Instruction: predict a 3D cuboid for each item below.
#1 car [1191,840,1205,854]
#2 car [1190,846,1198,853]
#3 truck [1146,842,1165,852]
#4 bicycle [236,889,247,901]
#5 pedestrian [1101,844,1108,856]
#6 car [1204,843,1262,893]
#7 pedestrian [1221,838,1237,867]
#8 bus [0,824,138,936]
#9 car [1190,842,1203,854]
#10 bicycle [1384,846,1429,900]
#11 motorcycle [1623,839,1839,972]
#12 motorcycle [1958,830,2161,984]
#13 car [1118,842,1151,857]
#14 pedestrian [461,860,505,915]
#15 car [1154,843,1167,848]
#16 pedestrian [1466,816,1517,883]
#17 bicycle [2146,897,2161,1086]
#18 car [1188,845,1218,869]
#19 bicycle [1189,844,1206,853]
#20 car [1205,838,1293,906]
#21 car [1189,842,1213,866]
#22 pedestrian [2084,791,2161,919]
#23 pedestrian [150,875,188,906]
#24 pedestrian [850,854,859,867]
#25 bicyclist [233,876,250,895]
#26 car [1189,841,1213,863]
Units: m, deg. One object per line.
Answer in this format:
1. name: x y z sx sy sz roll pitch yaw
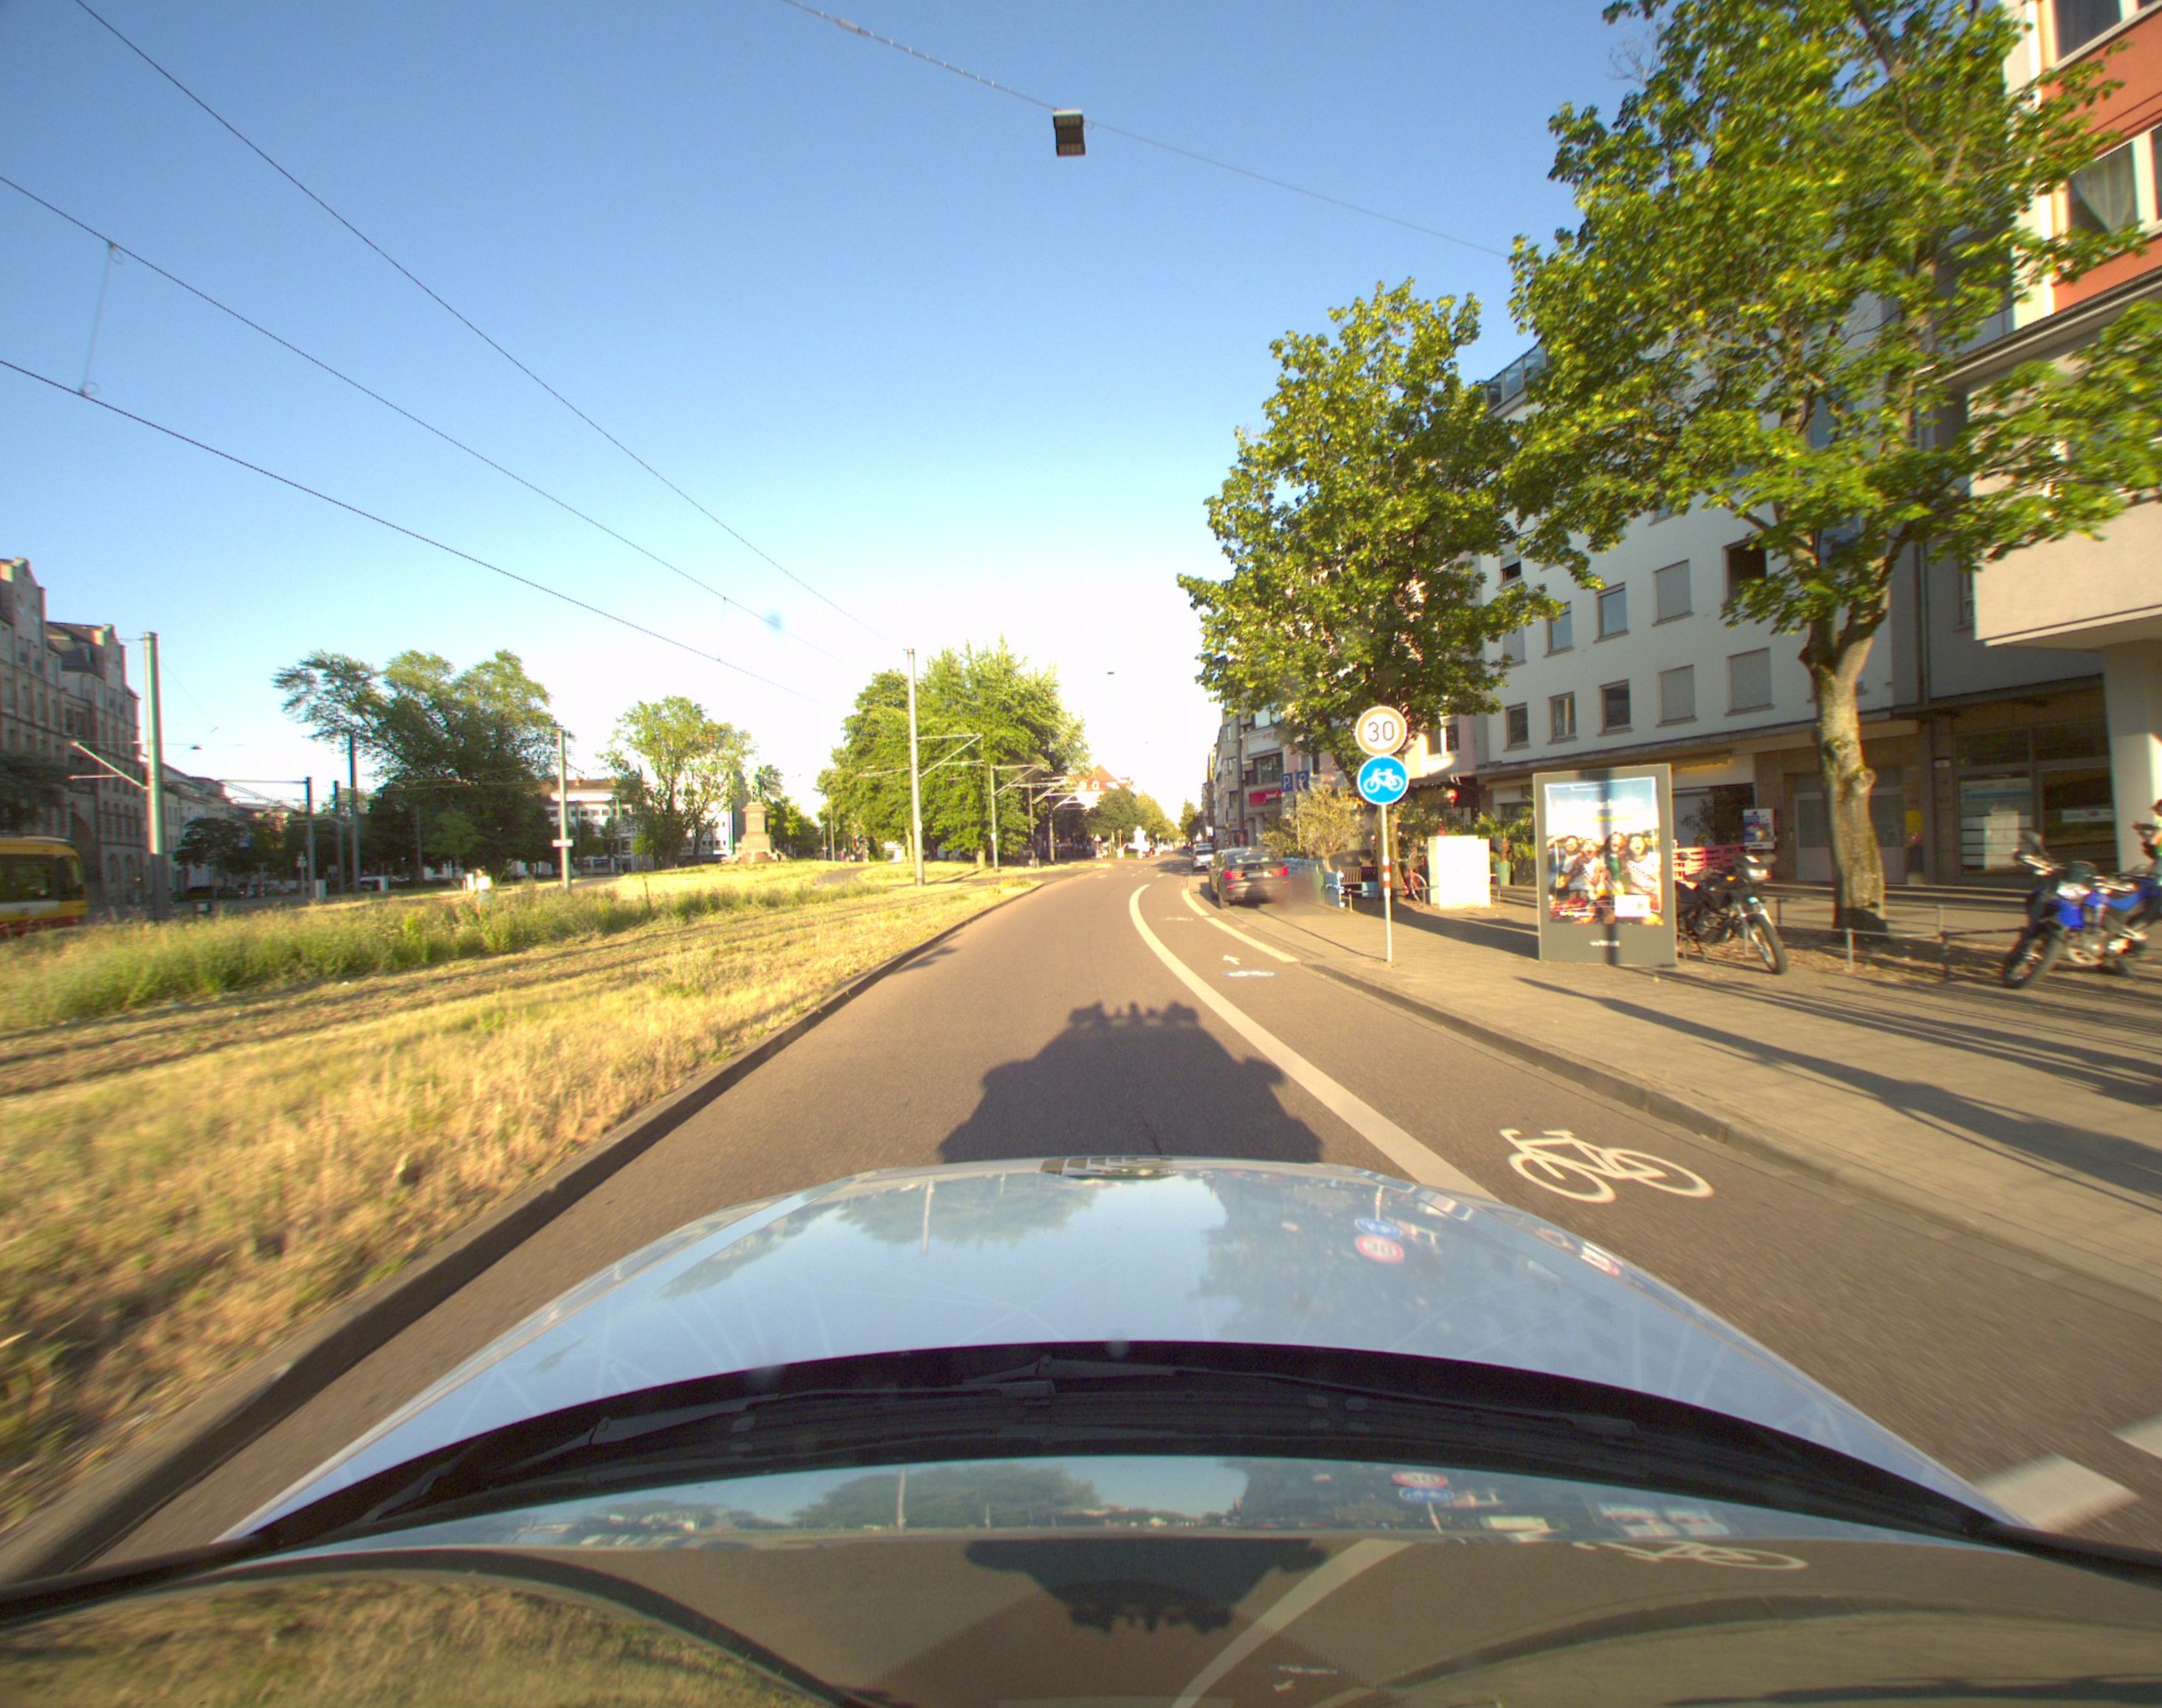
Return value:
1. car: 15.213 -0.893 105.853 1.782 1.791 4.101 -2 0 8
2. car: 27.290 -1.093 196.459 1.569 1.542 3.401 -4 -1 5
3. truck: 20.077 -1.904 220.367 4.915 2.615 2.004 -2 0 7
4. bicycle: -79.137 3.894 76.767 0.474 1.011 2.176 -2 1 -39
5. pedestrian: 3.188 -0.555 110.742 0.691 1.559 0.699 -1 1 28
6. car: 5.142 0.422 27.938 1.642 1.534 4.074 -1 1 6
7. pedestrian: 9.411 -0.107 51.778 0.640 1.786 0.852 -1 1 -16
8. bus: -33.929 0.837 22.441 3.759 3.362 13.630 -1 1 -18
9. car: 15.758 -0.838 111.530 1.648 1.665 4.116 -1 1 7
10. bicycle: 7.861 0.424 19.757 0.444 1.210 2.086 -1 1 6
11. motorcycle: 7.406 0.512 9.457 0.639 1.344 2.200 -1 1 -4
12. motorcycle: 9.690 0.466 7.967 2.146 1.354 0.639 -1 1 -17
13. car: 8.141 -0.723 124.204 4.613 2.251 2.189 -1 0 -20
14. pedestrian: -16.541 0.913 22.537 0.667 1.459 0.700 -1 1 3
15. car: 24.714 -2.614 252.709 3.720 1.492 2.004 -2 0 7
16. pedestrian: 10.935 -0.124 21.701 0.895 1.725 0.768 -3 1 -24
17. bicycle: 6.391 0.759 3.747 0.361 1.027 1.781 -1 1 -22
18. car: 7.988 0.182 53.081 1.774 1.456 4.011 -2 0 9
19. bicycle: 13.430 -0.631 93.563 1.770 0.990 0.545 -5 1 30
20. car: 4.582 0.410 22.851 1.796 1.670 4.819 -1 1 4
21. car: 8.557 -0.013 58.284 1.576 1.590 3.674 -1 1 6
22. pedestrian: 14.732 0.001 11.278 0.655 1.724 0.872 -2 1 -18
23. pedestrian: -63.563 2.521 56.798 1.060 2.094 1.623 -1 1 -20
24. pedestrian: -32.961 0.976 118.284 0.856 1.839 0.999 -1 2 8
25. bicyclist: -79.406 2.973 77.042 0.958 1.690 0.887 -2 1 -40
26. car: 10.242 -0.182 69.722 1.775 1.804 4.409 -1 1 6
